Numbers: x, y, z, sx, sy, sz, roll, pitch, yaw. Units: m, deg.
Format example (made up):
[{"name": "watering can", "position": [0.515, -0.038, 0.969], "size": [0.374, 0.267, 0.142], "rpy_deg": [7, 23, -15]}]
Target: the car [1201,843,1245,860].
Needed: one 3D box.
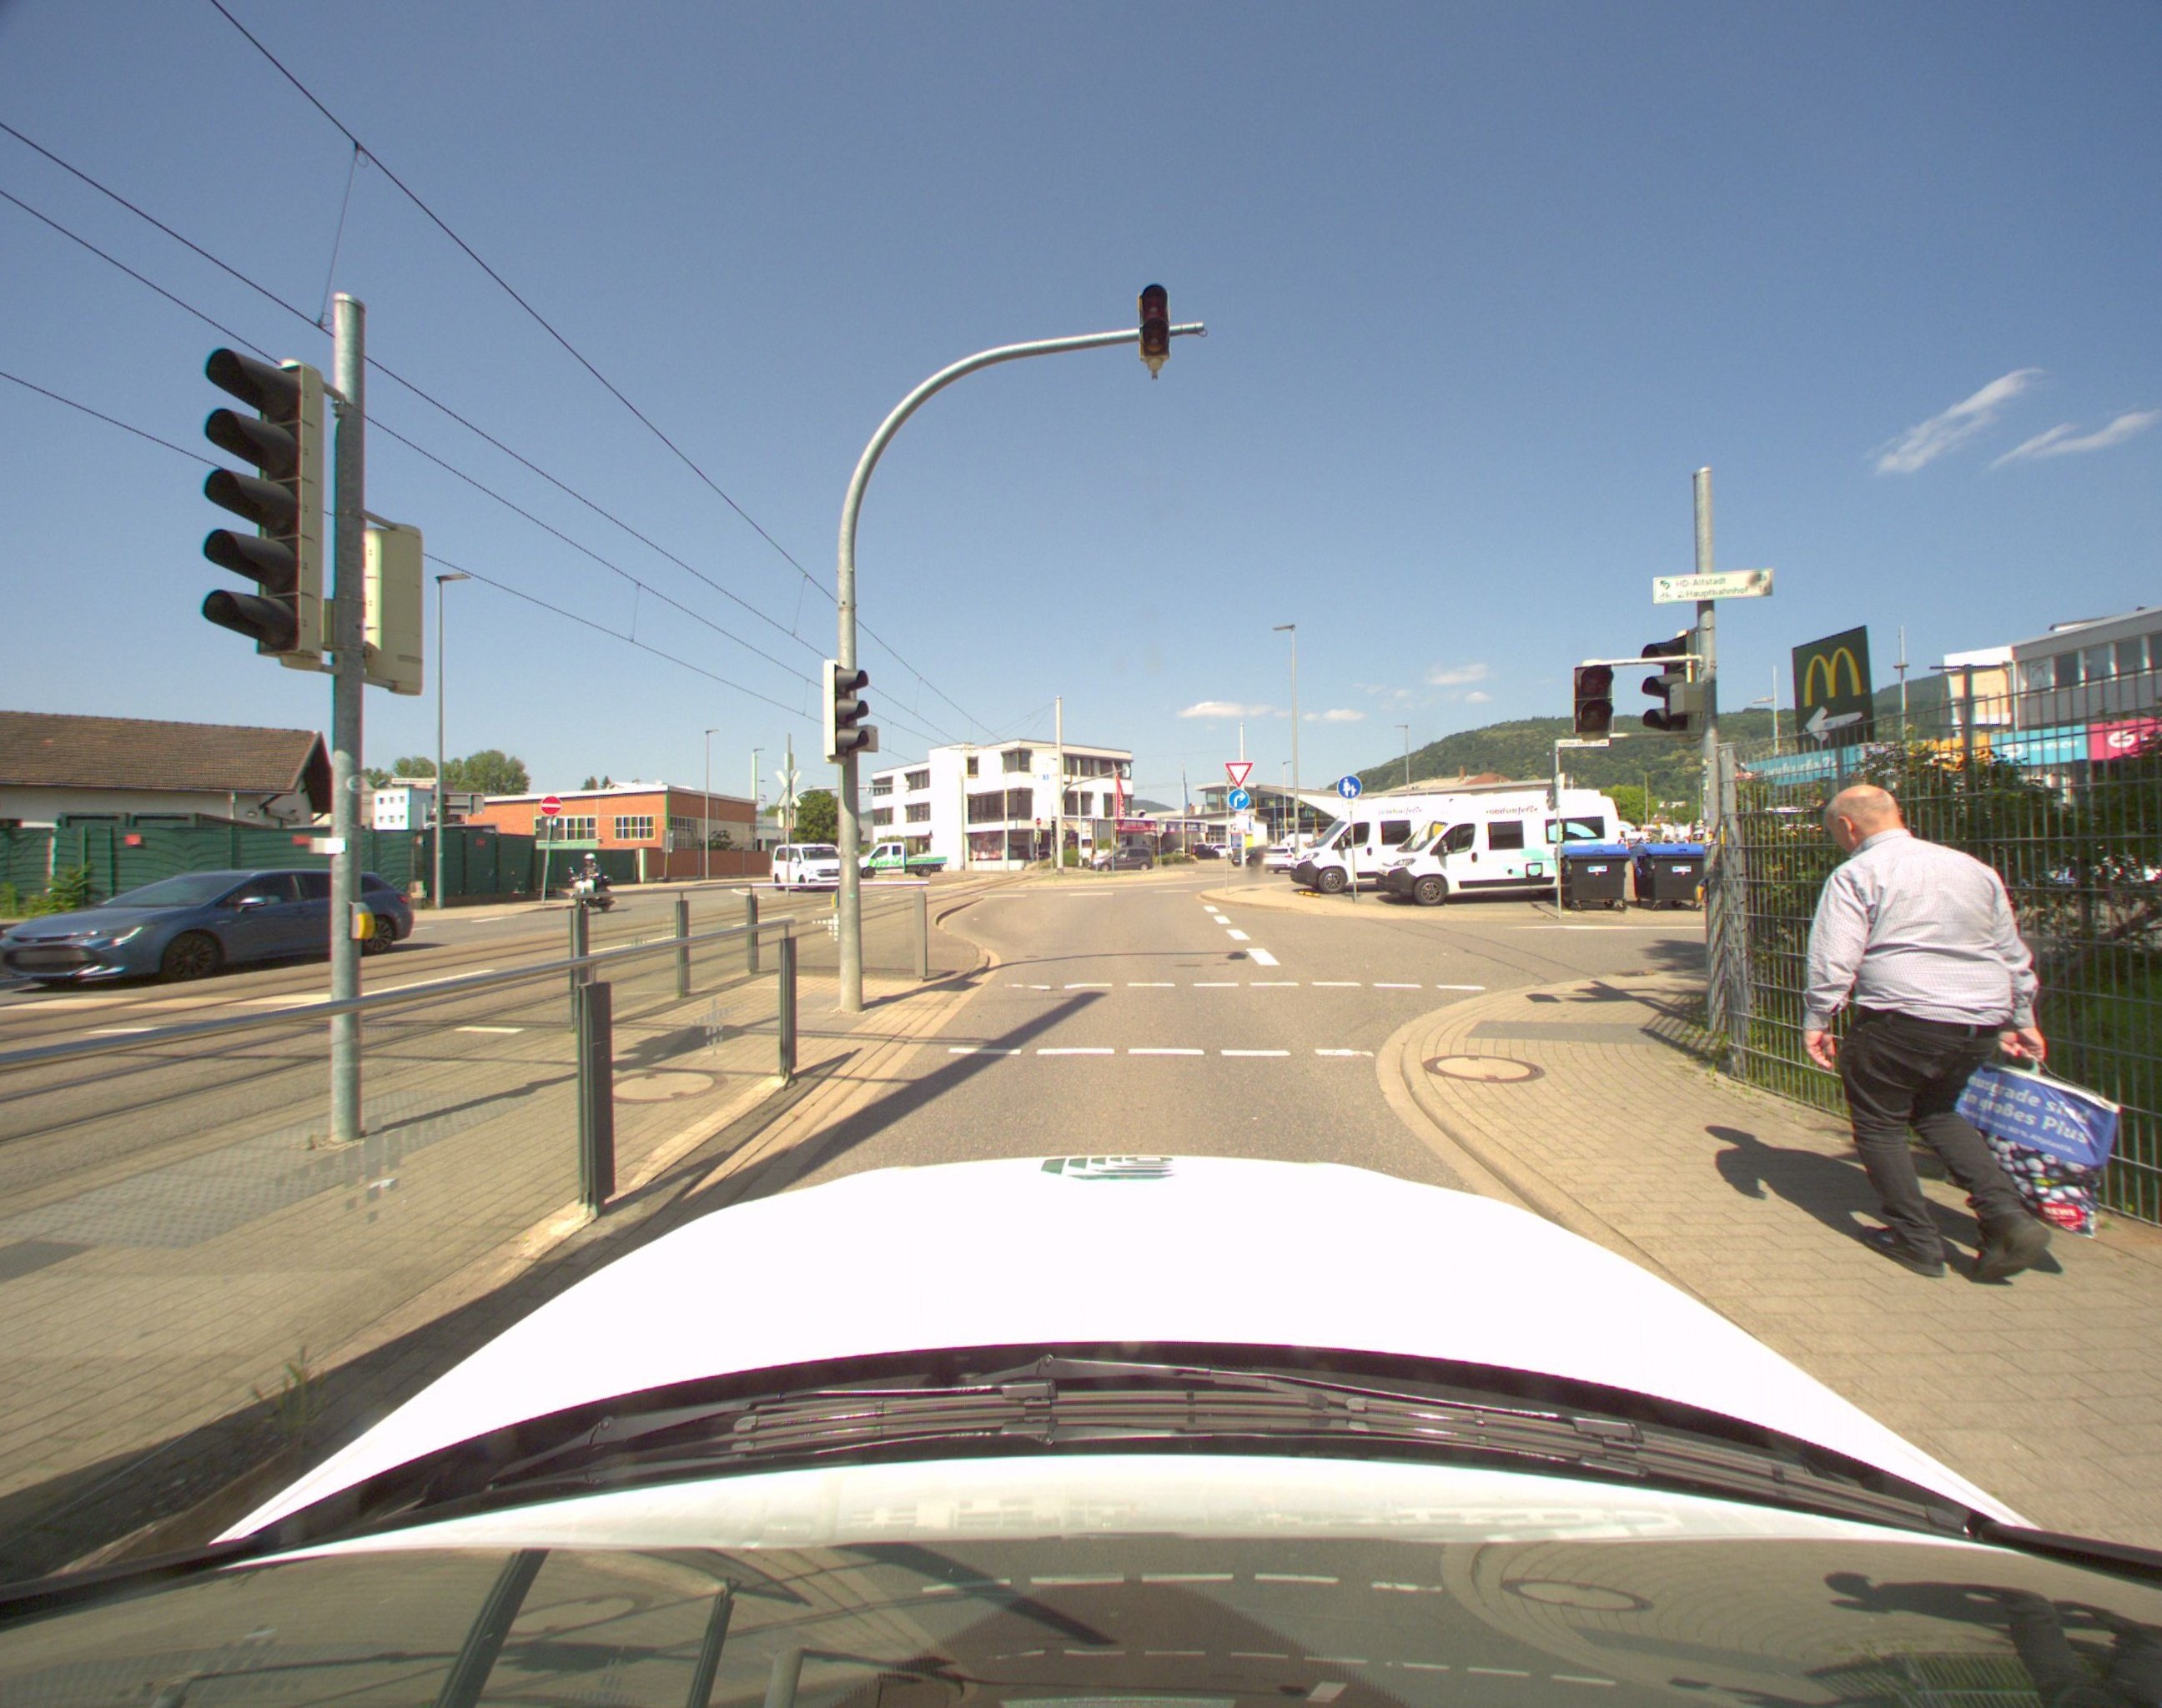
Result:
[{"name": "car", "position": [14.588, -0.253, 83.467], "size": [4.956, 1.589, 1.863], "rpy_deg": [-1, -2, -44]}]

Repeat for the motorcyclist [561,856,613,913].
[{"name": "motorcyclist", "position": [-13.306, 0.797, 21.966], "size": [0.835, 1.475, 0.960], "rpy_deg": [-1, 0, -7]}]

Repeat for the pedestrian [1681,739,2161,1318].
[{"name": "pedestrian", "position": [2.873, 0.519, 2.875], "size": [0.810, 1.699, 0.887], "rpy_deg": [-2, 0, 1]}]

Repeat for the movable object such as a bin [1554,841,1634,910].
[{"name": "movable object such as a bin", "position": [11.402, 0.462, 18.149], "size": [1.243, 1.456, 1.083], "rpy_deg": [-1, 2, 15]}]

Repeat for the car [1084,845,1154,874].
[{"name": "car", "position": [2.589, 0.366, 55.688], "size": [4.400, 1.818, 1.981], "rpy_deg": [-1, 0, -14]}]

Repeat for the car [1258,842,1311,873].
[{"name": "car", "position": [11.956, 0.175, 47.738], "size": [1.975, 1.733, 4.591], "rpy_deg": [-1, 0, 27]}]

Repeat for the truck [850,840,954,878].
[{"name": "truck", "position": [-11.734, 0.280, 53.469], "size": [6.391, 2.337, 2.194], "rpy_deg": [-1, 0, -21]}]

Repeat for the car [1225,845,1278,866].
[{"name": "car", "position": [13.063, 0.117, 62.222], "size": [1.945, 1.556, 4.268], "rpy_deg": [-1, 0, 44]}]

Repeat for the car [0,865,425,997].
[{"name": "car", "position": [-12.311, 0.941, 11.815], "size": [1.901, 1.442, 4.593], "rpy_deg": [-1, 0, -1]}]

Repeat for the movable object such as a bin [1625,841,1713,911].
[{"name": "movable object such as a bin", "position": [12.900, 0.464, 17.909], "size": [1.277, 1.457, 1.023], "rpy_deg": [-1, 2, 13]}]

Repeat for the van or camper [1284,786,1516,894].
[{"name": "van or camper", "position": [8.976, -0.398, 23.379], "size": [5.782, 2.773, 2.094], "rpy_deg": [-2, 1, 5]}]

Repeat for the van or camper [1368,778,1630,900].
[{"name": "van or camper", "position": [10.259, -0.375, 20.378], "size": [5.477, 2.813, 2.052], "rpy_deg": [-1, 2, 6]}]

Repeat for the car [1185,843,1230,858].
[{"name": "car", "position": [11.945, -0.337, 76.823], "size": [4.342, 1.427, 2.008], "rpy_deg": [-1, 0, -45]}]

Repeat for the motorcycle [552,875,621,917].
[{"name": "motorcycle", "position": [-13.292, 1.112, 21.957], "size": [0.821, 1.011, 1.959], "rpy_deg": [-1, 0, -7]}]

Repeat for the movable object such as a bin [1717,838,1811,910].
[{"name": "movable object such as a bin", "position": [14.729, 0.406, 17.597], "size": [1.228, 1.475, 1.023], "rpy_deg": [-1, 2, 10]}]

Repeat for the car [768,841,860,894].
[{"name": "car", "position": [-11.166, 0.529, 33.873], "size": [2.179, 2.013, 4.962], "rpy_deg": [-1, 0, -36]}]

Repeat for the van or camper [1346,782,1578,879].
[{"name": "van or camper", "position": [13.431, -0.800, 29.097], "size": [7.032, 2.946, 2.337], "rpy_deg": [-3, -1, 2]}]

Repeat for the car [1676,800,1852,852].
[{"name": "car", "position": [28.891, -1.136, 34.640], "size": [5.421, 2.013, 2.143], "rpy_deg": [-1, 0, 8]}]
